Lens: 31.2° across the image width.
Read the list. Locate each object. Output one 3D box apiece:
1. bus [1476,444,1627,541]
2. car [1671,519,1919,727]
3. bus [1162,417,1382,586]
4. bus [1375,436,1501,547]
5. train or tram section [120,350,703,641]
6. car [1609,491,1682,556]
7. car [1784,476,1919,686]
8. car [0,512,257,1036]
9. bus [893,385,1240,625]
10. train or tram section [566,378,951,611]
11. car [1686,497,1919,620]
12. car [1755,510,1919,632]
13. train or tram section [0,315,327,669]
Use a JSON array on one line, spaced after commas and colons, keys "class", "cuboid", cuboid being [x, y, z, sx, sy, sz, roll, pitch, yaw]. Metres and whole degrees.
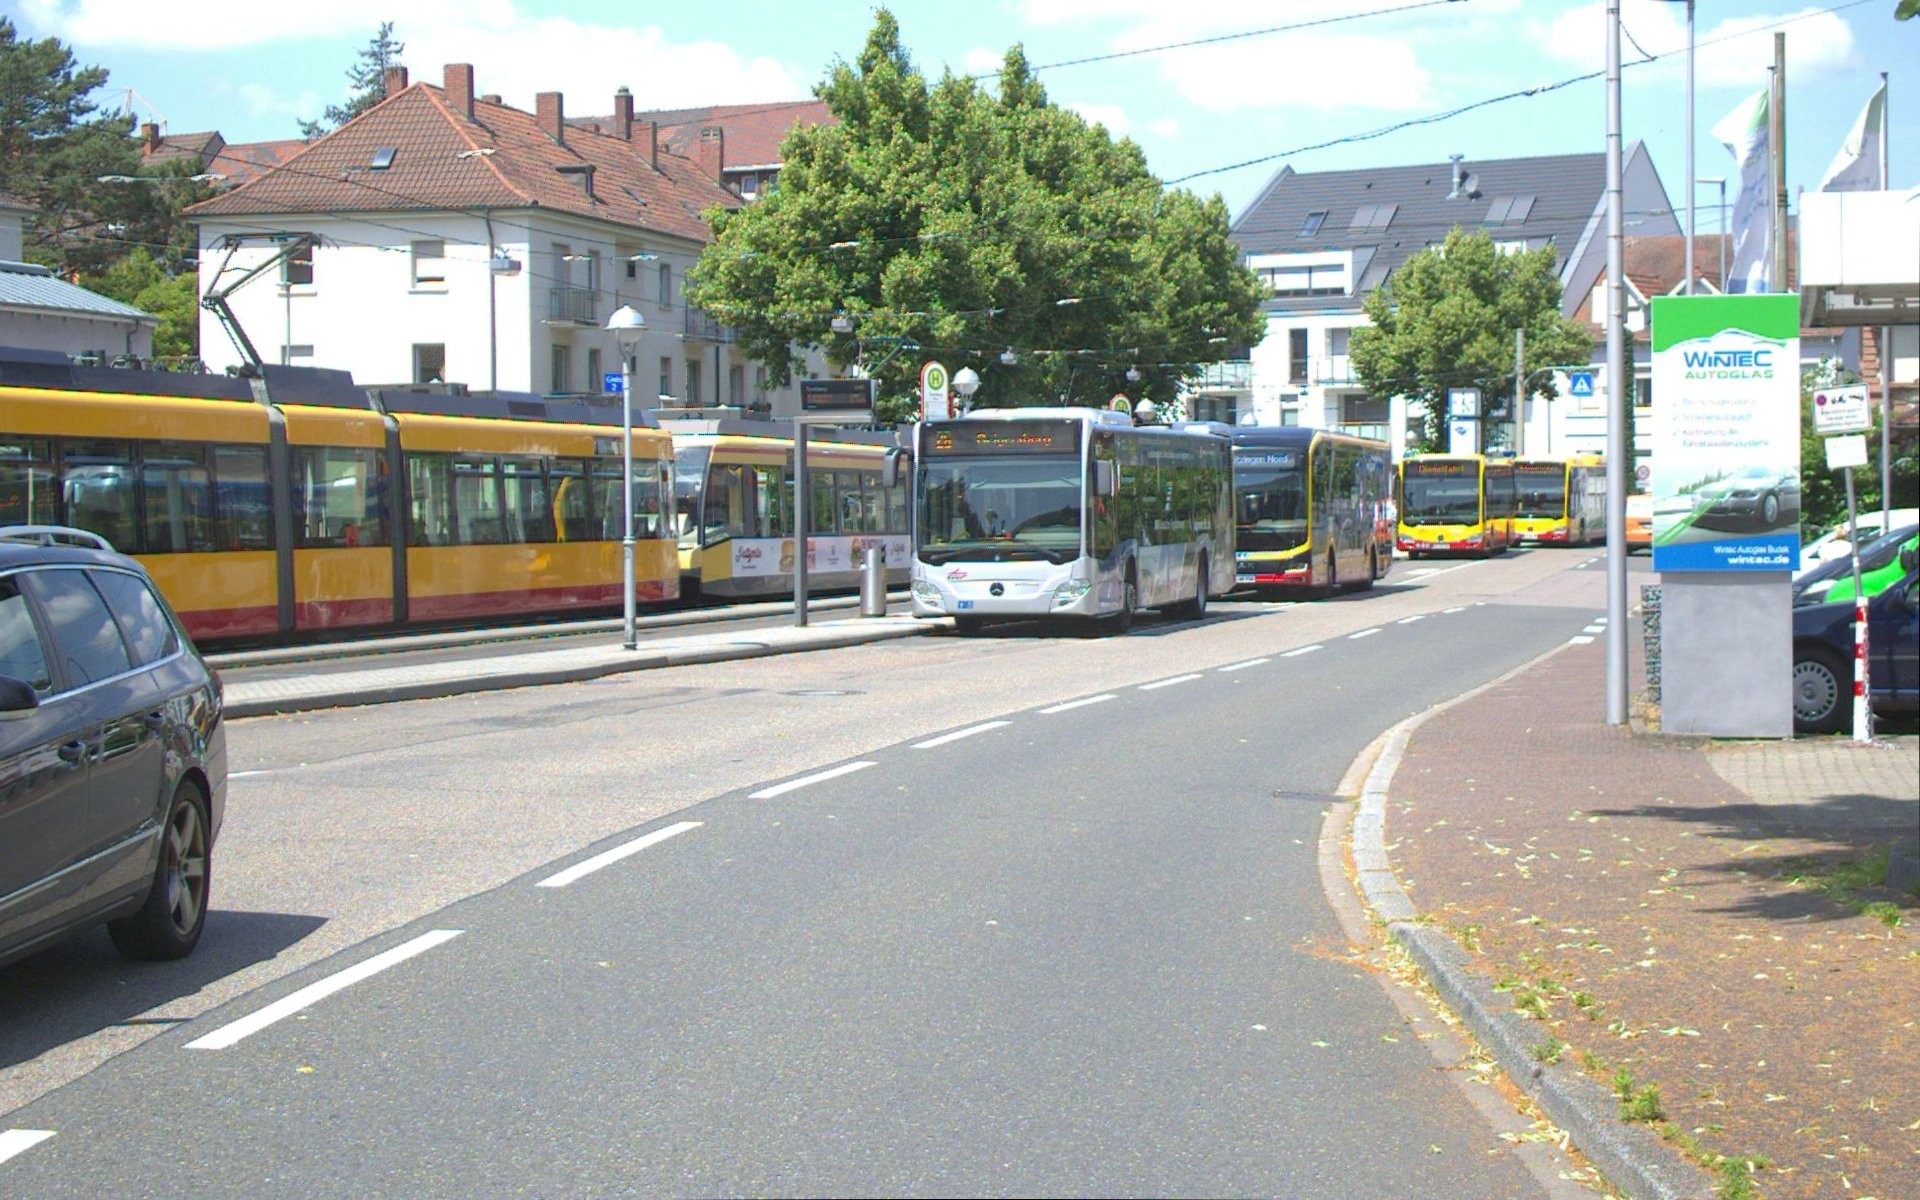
[{"class": "bus", "cuboid": [20.539, -3.691, 118.911, 2.637, 3.207, 9.928, 1, 2, 25]}, {"class": "car", "cuboid": [7.362, 0.143, 24.285, 4.167, 1.434, 1.898, 0, 1, 37]}, {"class": "bus", "cuboid": [6.505, -1.983, 69.709, 2.732, 3.118, 12.001, 0, 1, 14]}, {"class": "bus", "cuboid": [14.627, -3.268, 104.568, 2.732, 3.207, 11.043, 0, 1, 14]}, {"class": "train or tram section", "cuboid": [-7.333, -1.472, 49.564, 2.787, 3.556, 14.697, 0, 1, 14]}, {"class": "car", "cuboid": [21.251, -2.389, 106.515, 1.809, 1.974, 3.997, 0, 1, 17]}, {"class": "car", "cuboid": [9.246, -0.172, 29.492, 1.836, 1.788, 4.025, -1, 1, -35]}, {"class": "car", "cuboid": [-3.737, 0.484, 10.566, 1.994, 1.514, 4.511, 0, 1, 3]}, {"class": "bus", "cuboid": [1.850, -1.396, 50.910, 2.732, 3.118, 12.001, 0, 1, 14]}, {"class": "train or tram section", "cuboid": [-3.414, -1.958, 65.105, 2.787, 3.881, 15.542, 0, 1, 14]}, {"class": "car", "cuboid": [13.700, -0.667, 54.264, 4.306, 1.803, 1.999, 1, 3, 11]}, {"class": "car", "cuboid": [12.348, -0.391, 44.060, 3.929, 1.513, 1.823, 0, 1, 2]}, {"class": "train or tram section", "cuboid": [-10.828, -1.108, 35.582, 2.811, 3.556, 14.172, 0, 1, 14]}]
